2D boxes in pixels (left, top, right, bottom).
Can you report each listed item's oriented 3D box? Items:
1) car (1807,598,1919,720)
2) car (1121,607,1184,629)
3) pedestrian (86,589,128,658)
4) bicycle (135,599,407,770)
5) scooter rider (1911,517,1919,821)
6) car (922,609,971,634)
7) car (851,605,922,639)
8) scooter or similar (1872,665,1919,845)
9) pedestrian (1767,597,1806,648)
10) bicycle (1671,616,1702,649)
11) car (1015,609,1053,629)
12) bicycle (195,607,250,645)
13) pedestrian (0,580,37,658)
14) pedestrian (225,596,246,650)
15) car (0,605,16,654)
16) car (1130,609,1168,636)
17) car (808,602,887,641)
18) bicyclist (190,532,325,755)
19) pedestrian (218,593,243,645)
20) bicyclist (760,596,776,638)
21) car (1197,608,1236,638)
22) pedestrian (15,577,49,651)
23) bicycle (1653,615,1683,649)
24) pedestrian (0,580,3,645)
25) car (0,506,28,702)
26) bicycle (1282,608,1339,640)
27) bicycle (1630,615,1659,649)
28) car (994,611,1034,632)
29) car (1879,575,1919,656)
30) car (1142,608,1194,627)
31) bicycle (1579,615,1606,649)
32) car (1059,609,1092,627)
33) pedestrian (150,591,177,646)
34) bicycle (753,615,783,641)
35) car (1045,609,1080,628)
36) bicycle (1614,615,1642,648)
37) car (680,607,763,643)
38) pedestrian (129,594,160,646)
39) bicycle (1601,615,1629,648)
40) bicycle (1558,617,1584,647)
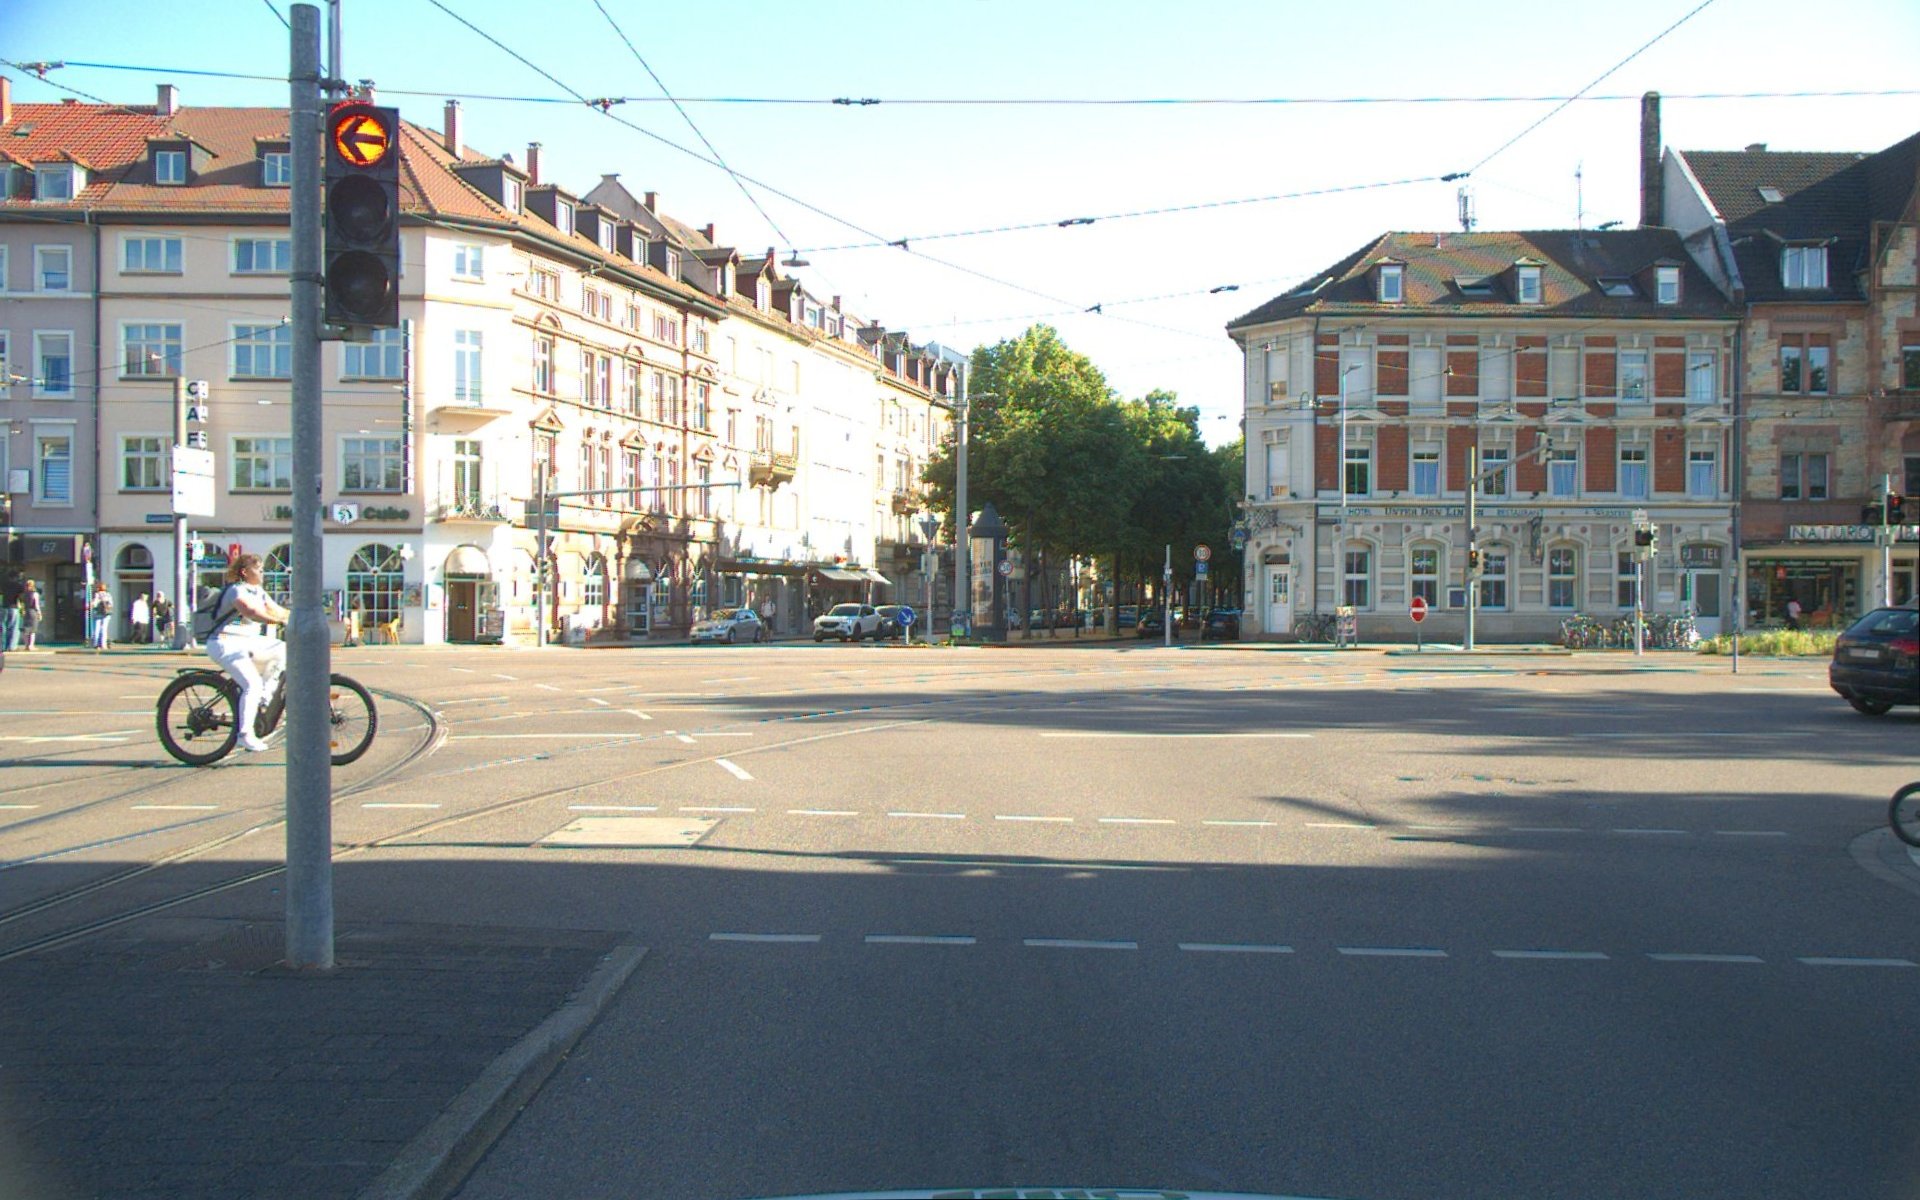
[{"bbox_3d":[12.918,0.695,20.448,4.190,1.405,1.643,0,0,-8],"label":"car"},{"bbox_3d":[12.319,1.139,105.552,3.902,1.311,1.696,0,0,10],"label":"car"},{"bbox_3d":[-21.317,0.572,41.352,0.725,1.711,0.628,0,0,-1],"label":"pedestrian"},{"bbox_3d":[-5.517,0.659,13.316,1.901,1.321,0.623,-1,0,-3],"label":"bicycle"},{"bbox_3d":[6.517,0.434,10.211,0.779,1.945,0.797,-2,0,-1],"label":"scooter rider"},{"bbox_3d":[-0.817,1.316,102.047,1.951,1.429,4.172,0,0,15],"label":"car"},{"bbox_3d":[-3.226,0.952,73.570,1.951,1.429,4.172,0,0,15],"label":"car"},{"bbox_3d":[6.500,0.927,10.206,1.402,1.062,0.565,-2,0,-2],"label":"scooter or similar"},{"bbox_3d":[28.398,0.774,56.841,1.013,1.741,0.630,1,-1,8],"label":"pedestrian"},{"bbox_3d":[23.589,1.045,53.731,0.476,1.038,1.785,0,0,9],"label":"bicycle"},{"bbox_3d":[5.478,1.376,122.630,1.951,1.429,4.172,0,0,15],"label":"car"},{"bbox_3d":[-25.081,0.880,56.273,1.684,1.299,0.385,0,0,-18],"label":"bicycle"},{"bbox_3d":[-22.939,0.452,40.051,0.751,1.861,0.722,0,0,-1],"label":"pedestrian"},{"bbox_3d":[-17.254,0.544,39.398,0.358,1.275,0.449,0,0,-12],"label":"pedestrian"},{"bbox_3d":[-32.134,0.902,52.148,3.651,1.517,1.818,1,0,2],"label":"car"},{"bbox_3d":[9.849,1.171,86.009,1.680,1.323,4.077,0,0,11],"label":"car"},{"bbox_3d":[-4.531,0.847,67.378,1.951,1.542,4.172,0,0,15],"label":"car"},{"bbox_3d":[-5.653,0.339,13.344,0.782,1.745,0.733,0,0,-3],"label":"bicyclist"},{"bbox_3d":[-24.112,0.610,54.673,0.731,1.711,0.623,0,0,-26],"label":"pedestrian"},{"bbox_3d":[-7.548,0.653,65.058,0.479,1.629,0.667,0,0,9],"label":"bicyclist"},{"bbox_3d":[12.854,1.141,82.695,1.717,1.445,4.003,0,0,12],"label":"car"},{"bbox_3d":[-23.014,0.338,41.012,0.549,1.817,0.559,0,0,-6],"label":"pedestrian"},{"bbox_3d":[22.904,1.032,53.549,0.476,1.038,1.785,0,0,9],"label":"bicycle"},{"bbox_3d":[-24.298,0.316,41.117,0.685,1.609,0.559,0,0,-6],"label":"pedestrian"},{"bbox_3d":[-14.535,0.062,20.236,5.013,2.475,2.078,0,0,-7],"label":"car"},{"bbox_3d":[12.175,0.828,57.503,1.911,1.072,0.716,0,0,9],"label":"bicycle"},{"bbox_3d":[22.109,1.018,53.469,0.476,1.038,1.785,0,0,9],"label":"bicycle"},{"bbox_3d":[3.819,1.482,116.884,1.951,1.429,4.172,0,0,15],"label":"car"},{"bbox_3d":[26.760,0.386,42.787,4.879,2.049,2.000,0,0,-1],"label":"car"},{"bbox_3d":[14.048,1.148,111.651,3.360,1.261,1.578,0,0,10],"label":"car"},{"bbox_3d":[20.472,1.023,53.565,0.476,1.038,1.785,0,0,9],"label":"bicycle"},{"bbox_3d":[9.576,1.477,136.716,1.951,1.429,4.172,0,0,15],"label":"car"},{"bbox_3d":[-24.954,0.585,51.826,0.731,1.711,0.623,0,0,-26],"label":"pedestrian"},{"bbox_3d":[-7.557,1.098,65.158,0.641,1.018,1.666,1,0,11],"label":"bicycle"},{"bbox_3d":[8.146,1.431,131.498,1.951,1.429,4.172,0,0,15],"label":"car"},{"bbox_3d":[21.611,1.010,53.541,0.476,1.038,1.785,0,0,9],"label":"bicycle"},{"bbox_3d":[-9.600,0.985,66.872,1.951,1.385,3.821,0,0,15],"label":"car"},{"bbox_3d":[-27.360,0.667,55.504,0.613,1.711,0.743,0,0,7],"label":"pedestrian"},{"bbox_3d":[21.162,1.002,53.473,0.476,1.038,1.785,0,0,9],"label":"bicycle"},{"bbox_3d":[19.803,1.016,53.642,0.476,0.930,1.785,0,0,9],"label":"bicycle"}]
